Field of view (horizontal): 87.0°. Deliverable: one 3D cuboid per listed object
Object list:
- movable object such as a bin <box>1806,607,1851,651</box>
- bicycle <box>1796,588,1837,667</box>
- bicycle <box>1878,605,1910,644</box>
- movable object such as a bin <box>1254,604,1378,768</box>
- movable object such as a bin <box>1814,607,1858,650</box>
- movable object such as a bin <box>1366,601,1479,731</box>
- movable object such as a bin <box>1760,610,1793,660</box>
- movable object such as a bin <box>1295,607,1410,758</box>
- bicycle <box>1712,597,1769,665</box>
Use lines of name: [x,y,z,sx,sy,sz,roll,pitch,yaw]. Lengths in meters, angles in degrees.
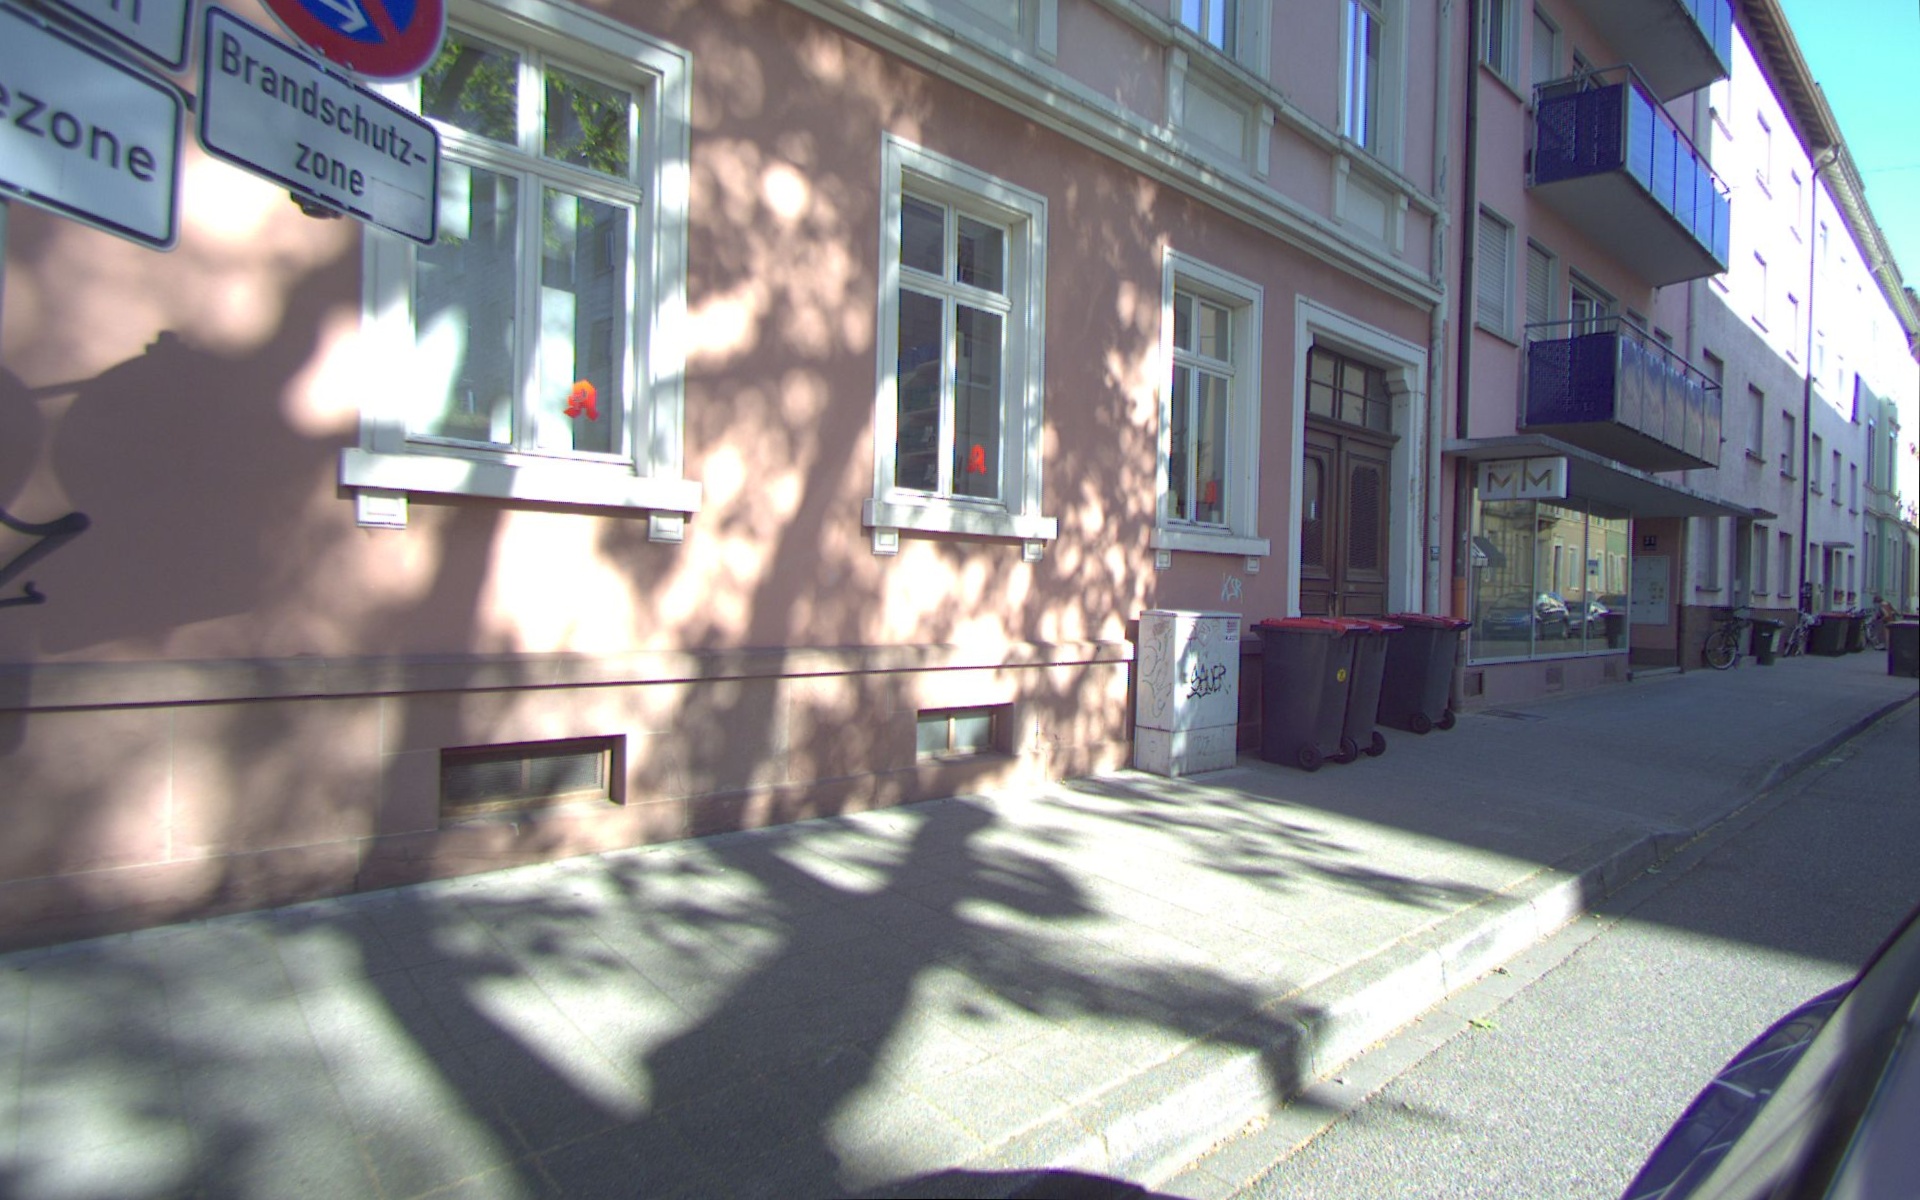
movable object such as a bin: [21.316,0.705,24.847,0.537,1.014,0.716,1,3,-43]
bicycle: [20.058,0.624,23.687,2.070,1.757,0.402,1,1,-41]
bicycle: [27.928,0.724,30.257,1.899,1.110,0.489,0,1,-41]
movable object such as a bin: [2.623,0.602,7.454,0.643,1.097,0.570,1,3,-43]
movable object such as a bin: [21.908,0.703,25.311,0.537,1.014,0.716,1,3,-43]
movable object such as a bin: [4.277,0.581,9.370,0.608,1.097,0.717,1,3,-43]
movable object such as a bin: [16.294,0.691,20.187,0.297,0.951,0.416,1,3,-43]
movable object such as a bin: [3.053,0.613,7.869,0.601,1.071,0.570,1,3,-43]
bicycle: [14.177,0.546,18.364,1.989,1.165,0.402,0,1,-41]
